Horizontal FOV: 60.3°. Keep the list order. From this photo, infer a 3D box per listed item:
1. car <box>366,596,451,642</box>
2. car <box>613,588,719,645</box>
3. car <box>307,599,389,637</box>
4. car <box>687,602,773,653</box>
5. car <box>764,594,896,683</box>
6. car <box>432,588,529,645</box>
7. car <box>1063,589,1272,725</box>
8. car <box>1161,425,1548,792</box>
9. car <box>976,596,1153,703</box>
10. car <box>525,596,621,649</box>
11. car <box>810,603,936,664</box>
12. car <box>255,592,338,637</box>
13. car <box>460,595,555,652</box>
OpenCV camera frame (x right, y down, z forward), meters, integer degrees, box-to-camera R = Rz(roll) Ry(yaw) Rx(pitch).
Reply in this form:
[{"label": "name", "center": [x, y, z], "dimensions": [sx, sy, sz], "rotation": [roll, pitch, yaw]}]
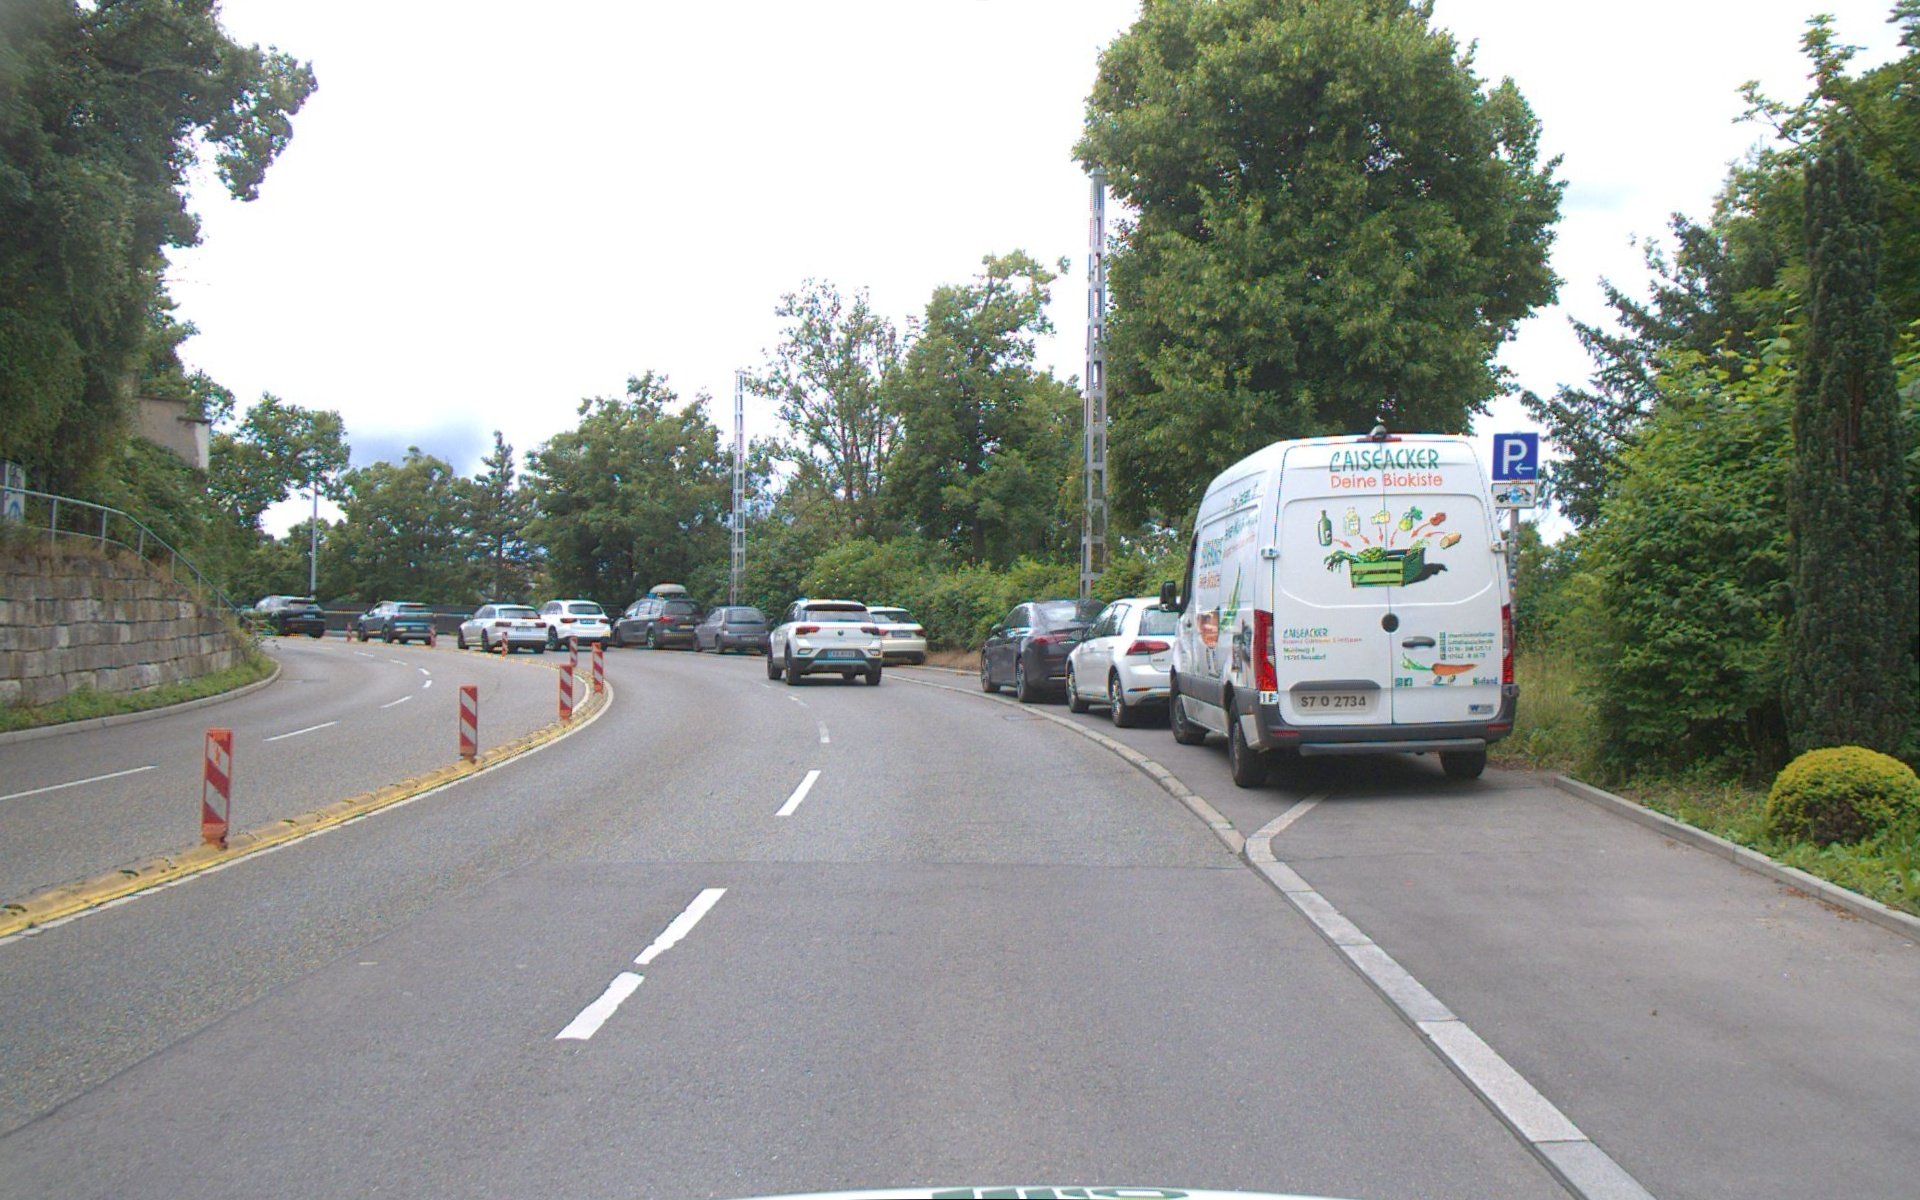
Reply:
[{"label": "car", "center": [-20.406, 0.688, 61.108], "dimensions": [1.975, 1.568, 3.964], "rotation": [4, -2, -33]}, {"label": "car", "center": [-10.081, 0.550, 56.439], "dimensions": [1.783, 1.803, 4.551], "rotation": [3, -1, -35]}, {"label": "car", "center": [-28.066, 0.828, 75.823], "dimensions": [3.461, 1.552, 1.695], "rotation": [2, -2, 32]}, {"label": "car", "center": [-7.205, 0.839, 51.547], "dimensions": [1.619, 1.490, 3.970], "rotation": [2, -1, -24]}, {"label": "car", "center": [-2.552, 0.705, 31.580], "dimensions": [1.836, 1.563, 3.788], "rotation": [2, -1, -15]}, {"label": "car", "center": [-16.254, 0.557, 55.988], "dimensions": [1.976, 1.769, 3.953], "rotation": [4, -2, -34]}, {"label": "car", "center": [2.430, 0.640, 20.240], "dimensions": [1.668, 1.490, 3.829], "rotation": [0, 0, -7]}, {"label": "car", "center": [3.170, 0.071, 14.731], "dimensions": [2.041, 2.567, 5.844], "rotation": [-1, 0, 0]}, {"label": "car", "center": [1.488, 0.690, 25.406], "dimensions": [1.670, 1.489, 4.652], "rotation": [0, 0, -10]}, {"label": "car", "center": [-12.932, 0.745, 55.161], "dimensions": [1.973, 1.614, 3.959], "rotation": [4, -2, -30]}, {"label": "car", "center": [-2.256, 0.818, 41.867], "dimensions": [1.756, 1.443, 3.965], "rotation": [0, 0, -27]}, {"label": "car", "center": [-27.628, 0.579, 68.808], "dimensions": [1.807, 1.719, 3.935], "rotation": [5, -3, -44]}, {"label": "car", "center": [-14.107, 0.723, 51.465], "dimensions": [1.886, 1.601, 3.960], "rotation": [4, -2, -29]}]
